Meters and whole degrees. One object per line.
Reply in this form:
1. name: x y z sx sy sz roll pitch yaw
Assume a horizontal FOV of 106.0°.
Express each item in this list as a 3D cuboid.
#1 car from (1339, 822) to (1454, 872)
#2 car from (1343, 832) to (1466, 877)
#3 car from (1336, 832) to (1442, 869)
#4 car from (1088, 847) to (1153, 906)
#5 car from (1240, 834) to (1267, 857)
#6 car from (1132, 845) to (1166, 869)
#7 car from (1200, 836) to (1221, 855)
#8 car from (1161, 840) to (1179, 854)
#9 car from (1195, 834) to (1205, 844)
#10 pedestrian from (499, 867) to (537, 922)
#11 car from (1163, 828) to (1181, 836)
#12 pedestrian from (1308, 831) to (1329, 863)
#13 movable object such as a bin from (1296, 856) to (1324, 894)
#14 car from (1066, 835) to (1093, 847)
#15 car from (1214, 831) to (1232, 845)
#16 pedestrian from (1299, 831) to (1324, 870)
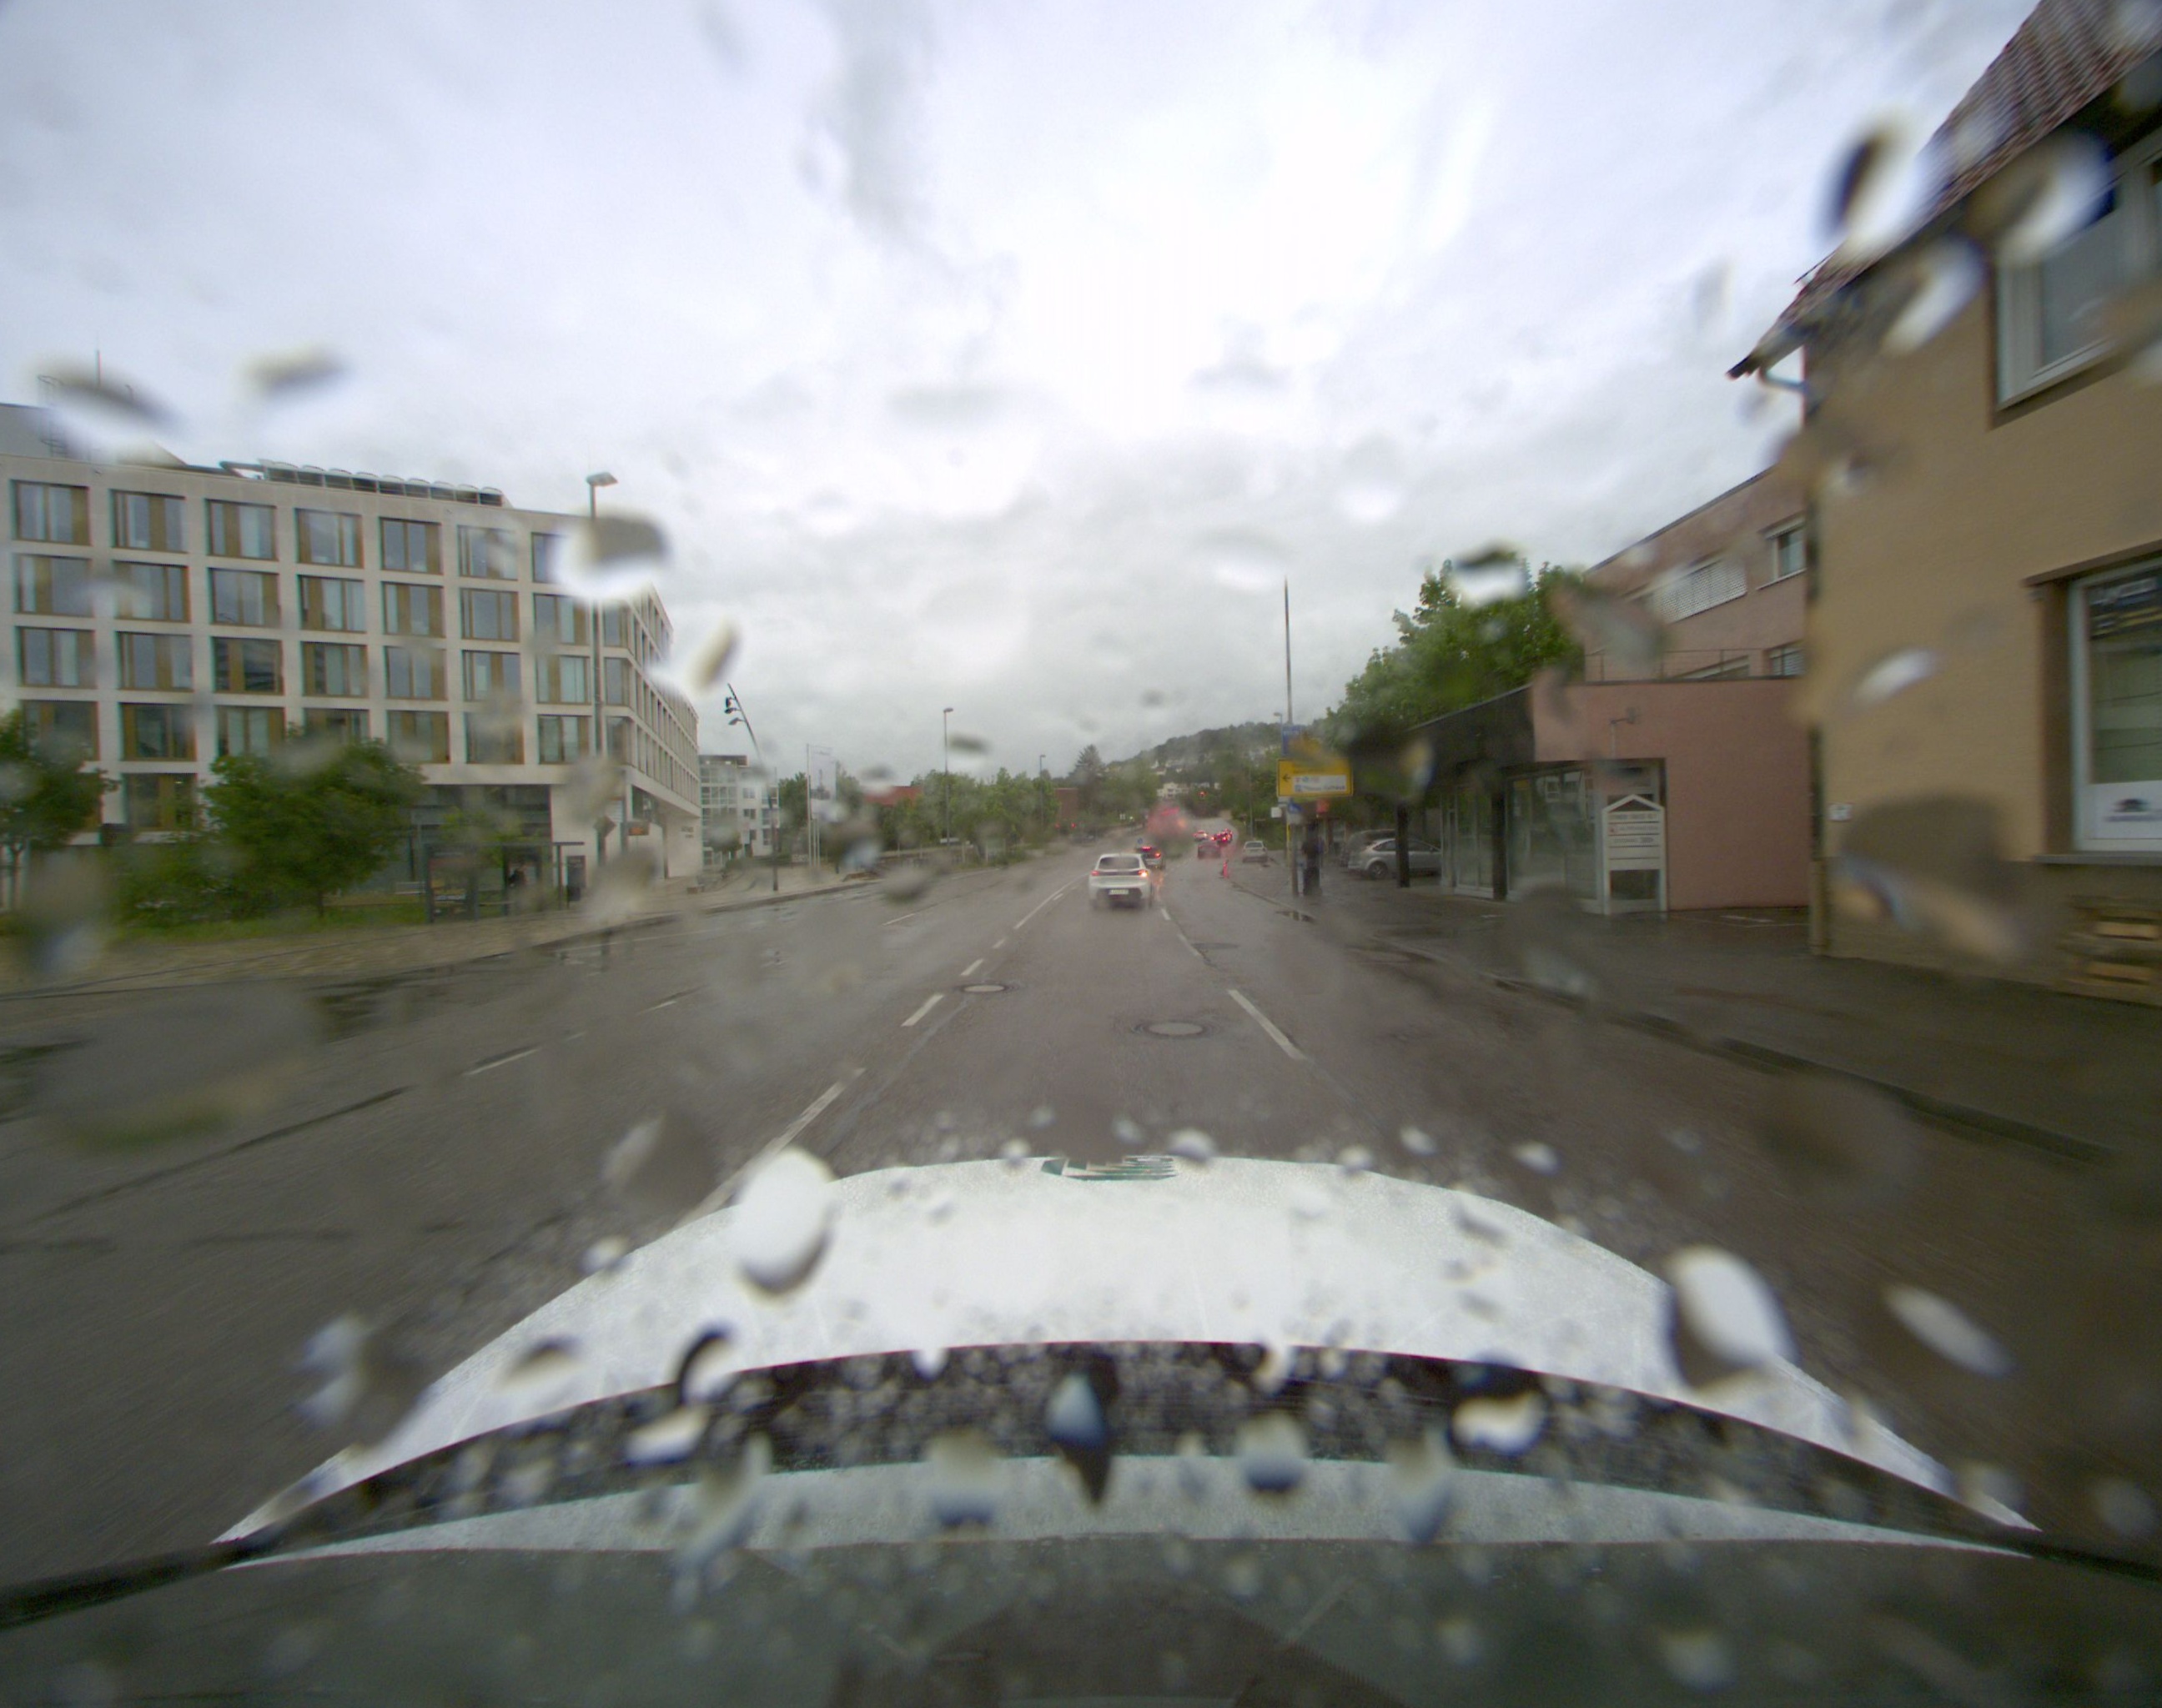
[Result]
1. car: 13.160 -0.289 34.170 4.073 1.870 1.880 -3 1 6
2. car: 12.107 0.015 30.696 3.966 1.447 1.750 -3 1 6
3. car: 13.825 -0.158 36.733 4.130 1.454 1.804 -3 0 3
4. car: 1.213 0.574 23.331 1.683 1.519 3.939 0 1 5
5. car: 12.454 -0.655 58.547 1.718 1.497 4.497 -3 1 13
6. car: 4.075 0.145 48.408 1.731 1.295 3.342 -3 0 9
7. car: 11.148 -0.750 70.439 1.724 1.387 3.361 0 4 8
8. car: 7.763 -0.572 70.737 1.204 1.156 2.278 -3 -1 13
9. car: 16.422 -2.052 112.309 1.377 1.126 2.617 -3 -1 9
10. pedestrian: -18.446 1.303 26.684 0.783 1.745 0.671 -2 -1 -13
11. car: 14.021 -3.343 125.286 2.435 1.157 1.357 -2 -1 -32
12. pedestrian: 13.001 -0.392 44.629 0.871 1.736 0.761 -3 1 3
13. movable object such as a bin: 6.936 0.628 24.685 0.633 1.074 0.699 -3 2 4
14. car: -0.209 -1.878 118.187 3.530 1.569 1.786 -2 -1 -23
15. car: 17.087 -1.952 98.115 1.642 1.485 3.366 -3 -1 1
16. pedestrian: 11.001 -0.178 38.878 0.711 1.821 0.790 -2 -2 -25
